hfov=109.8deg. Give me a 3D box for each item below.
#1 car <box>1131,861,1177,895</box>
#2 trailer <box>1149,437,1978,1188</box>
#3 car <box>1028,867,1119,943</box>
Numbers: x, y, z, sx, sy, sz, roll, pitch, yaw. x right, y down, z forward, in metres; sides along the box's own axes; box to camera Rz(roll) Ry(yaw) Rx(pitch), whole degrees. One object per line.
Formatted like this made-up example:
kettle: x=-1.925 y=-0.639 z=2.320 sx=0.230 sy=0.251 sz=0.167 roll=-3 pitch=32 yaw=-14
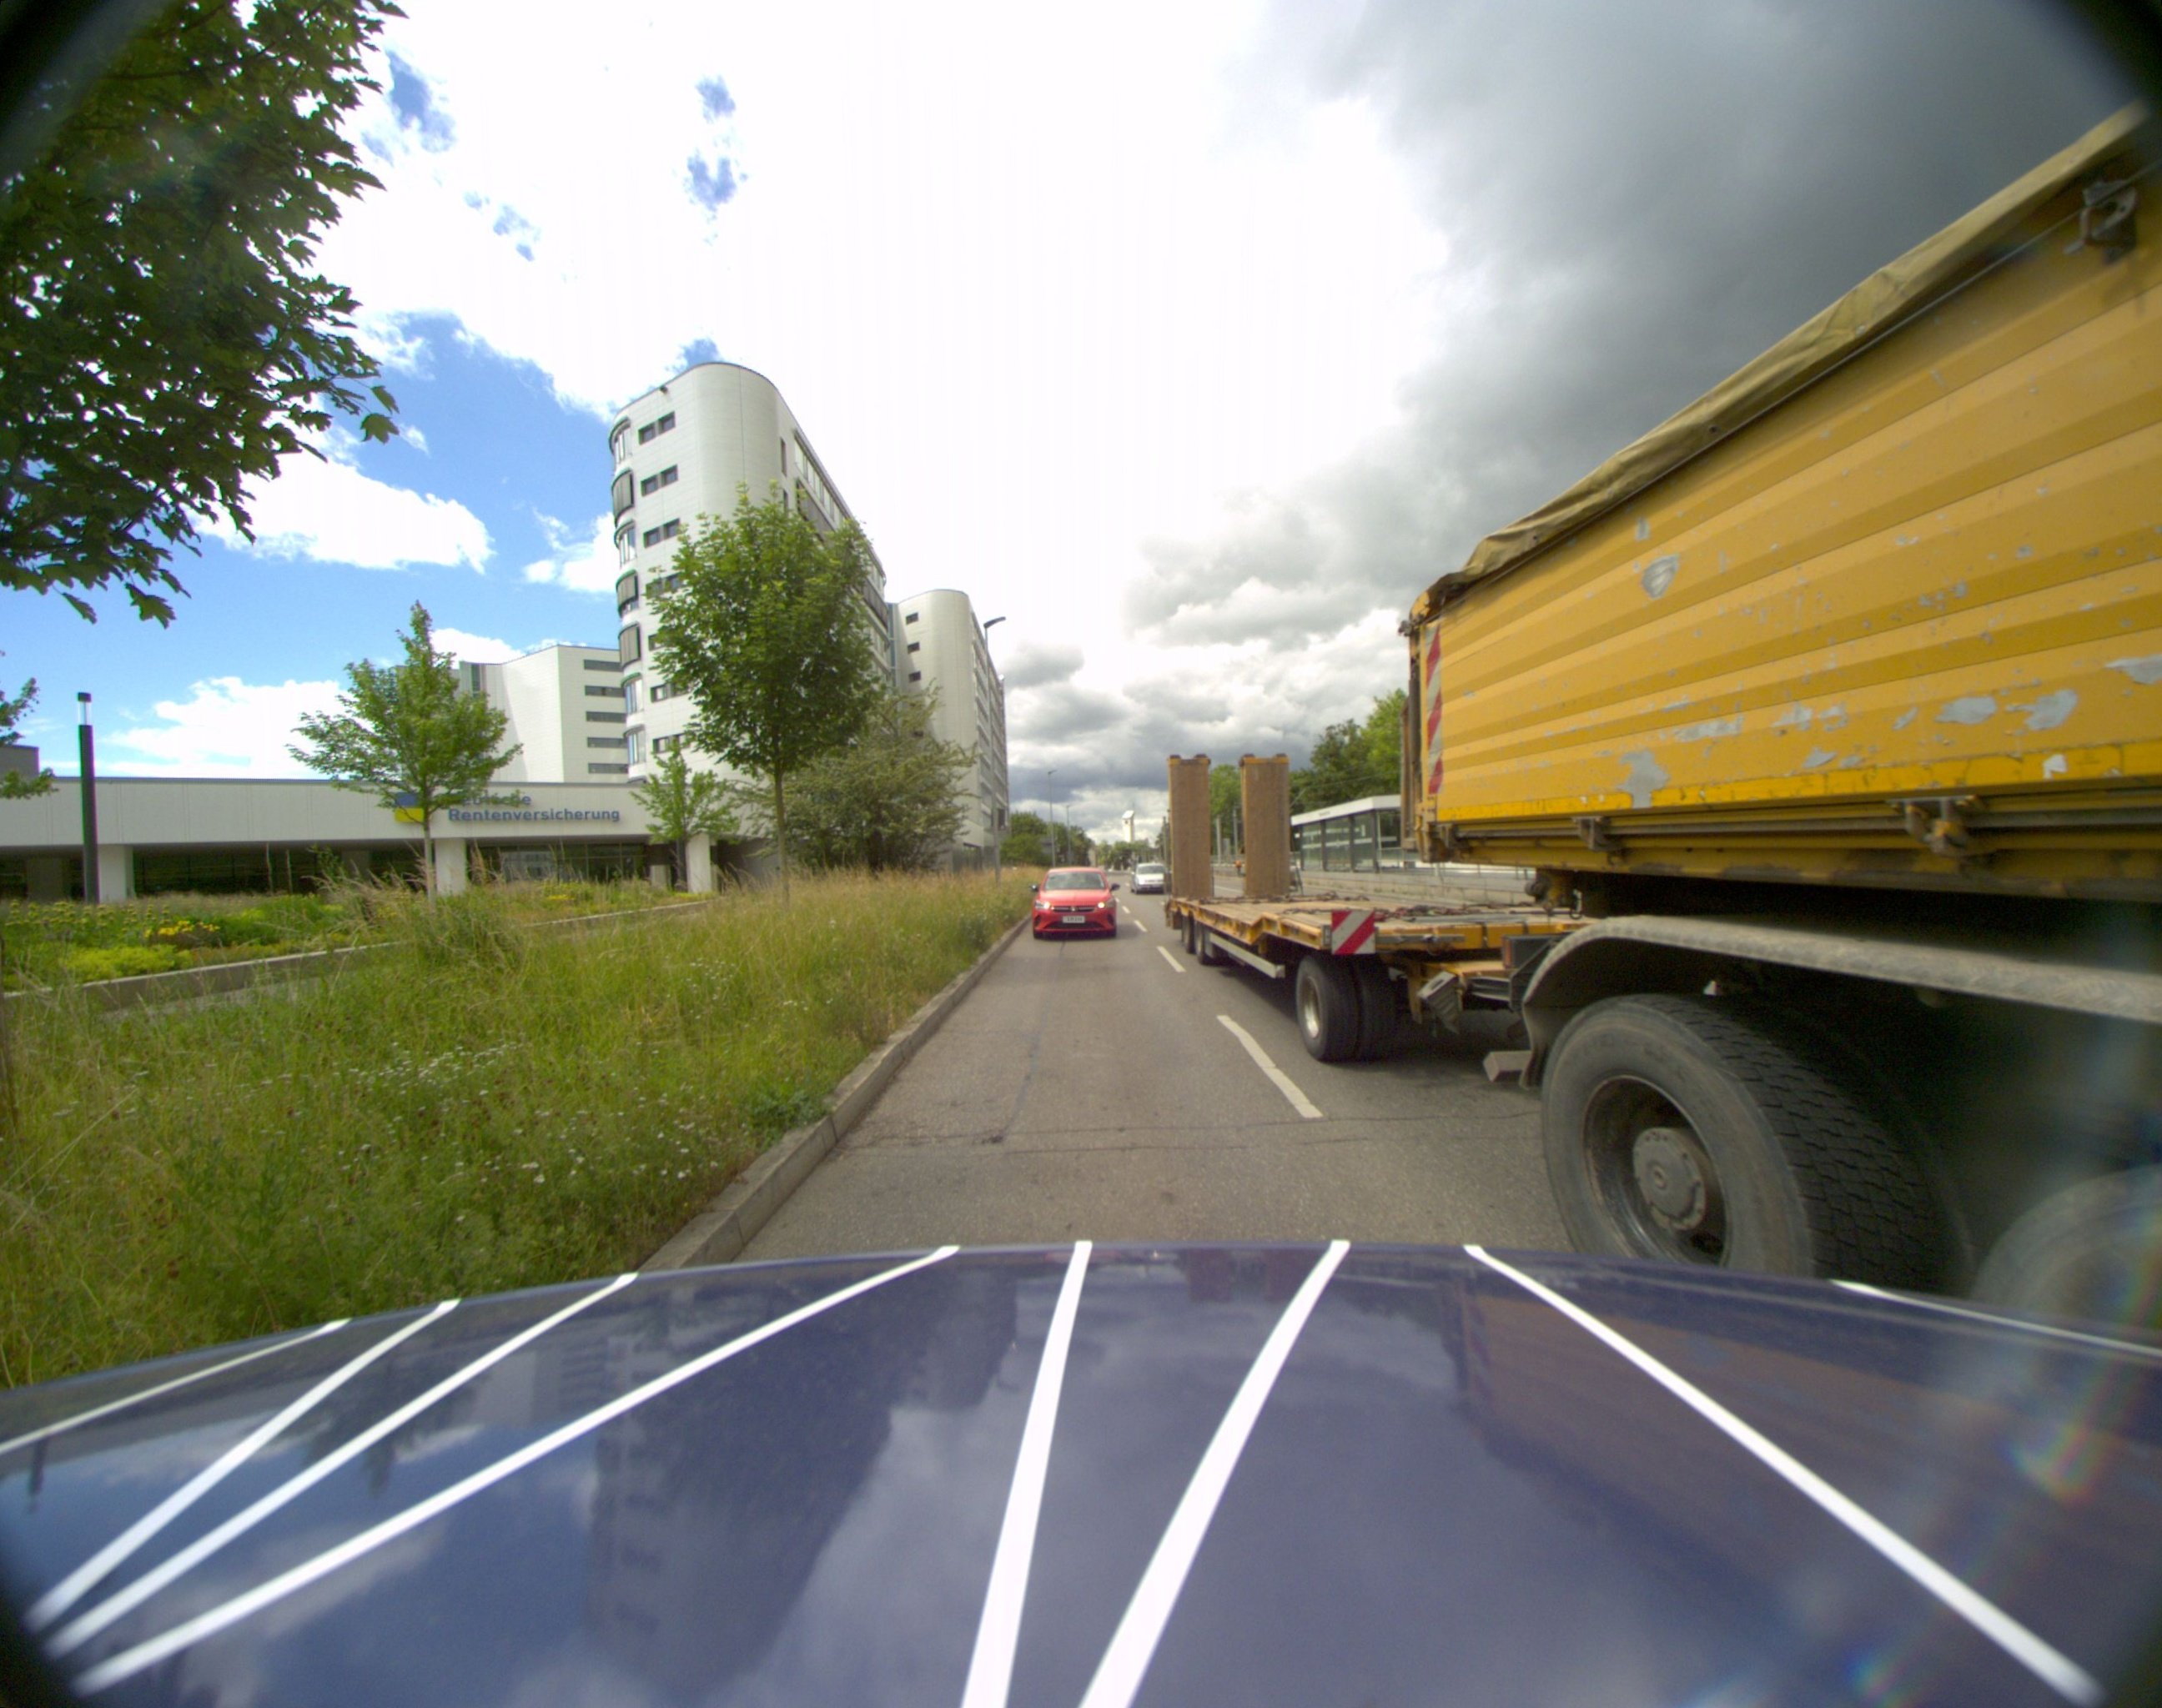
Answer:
car: x=3.307 y=1.055 z=35.209 sx=1.784 sy=1.408 sz=3.785 roll=-2 pitch=0 yaw=1
trailer: x=2.932 y=-0.181 z=9.309 sx=3.057 sy=3.676 sz=10.965 roll=-2 pitch=0 yaw=0
car: x=-0.120 y=1.027 z=16.595 sx=1.749 sy=1.408 sz=3.676 roll=-1 pitch=0 yaw=1
